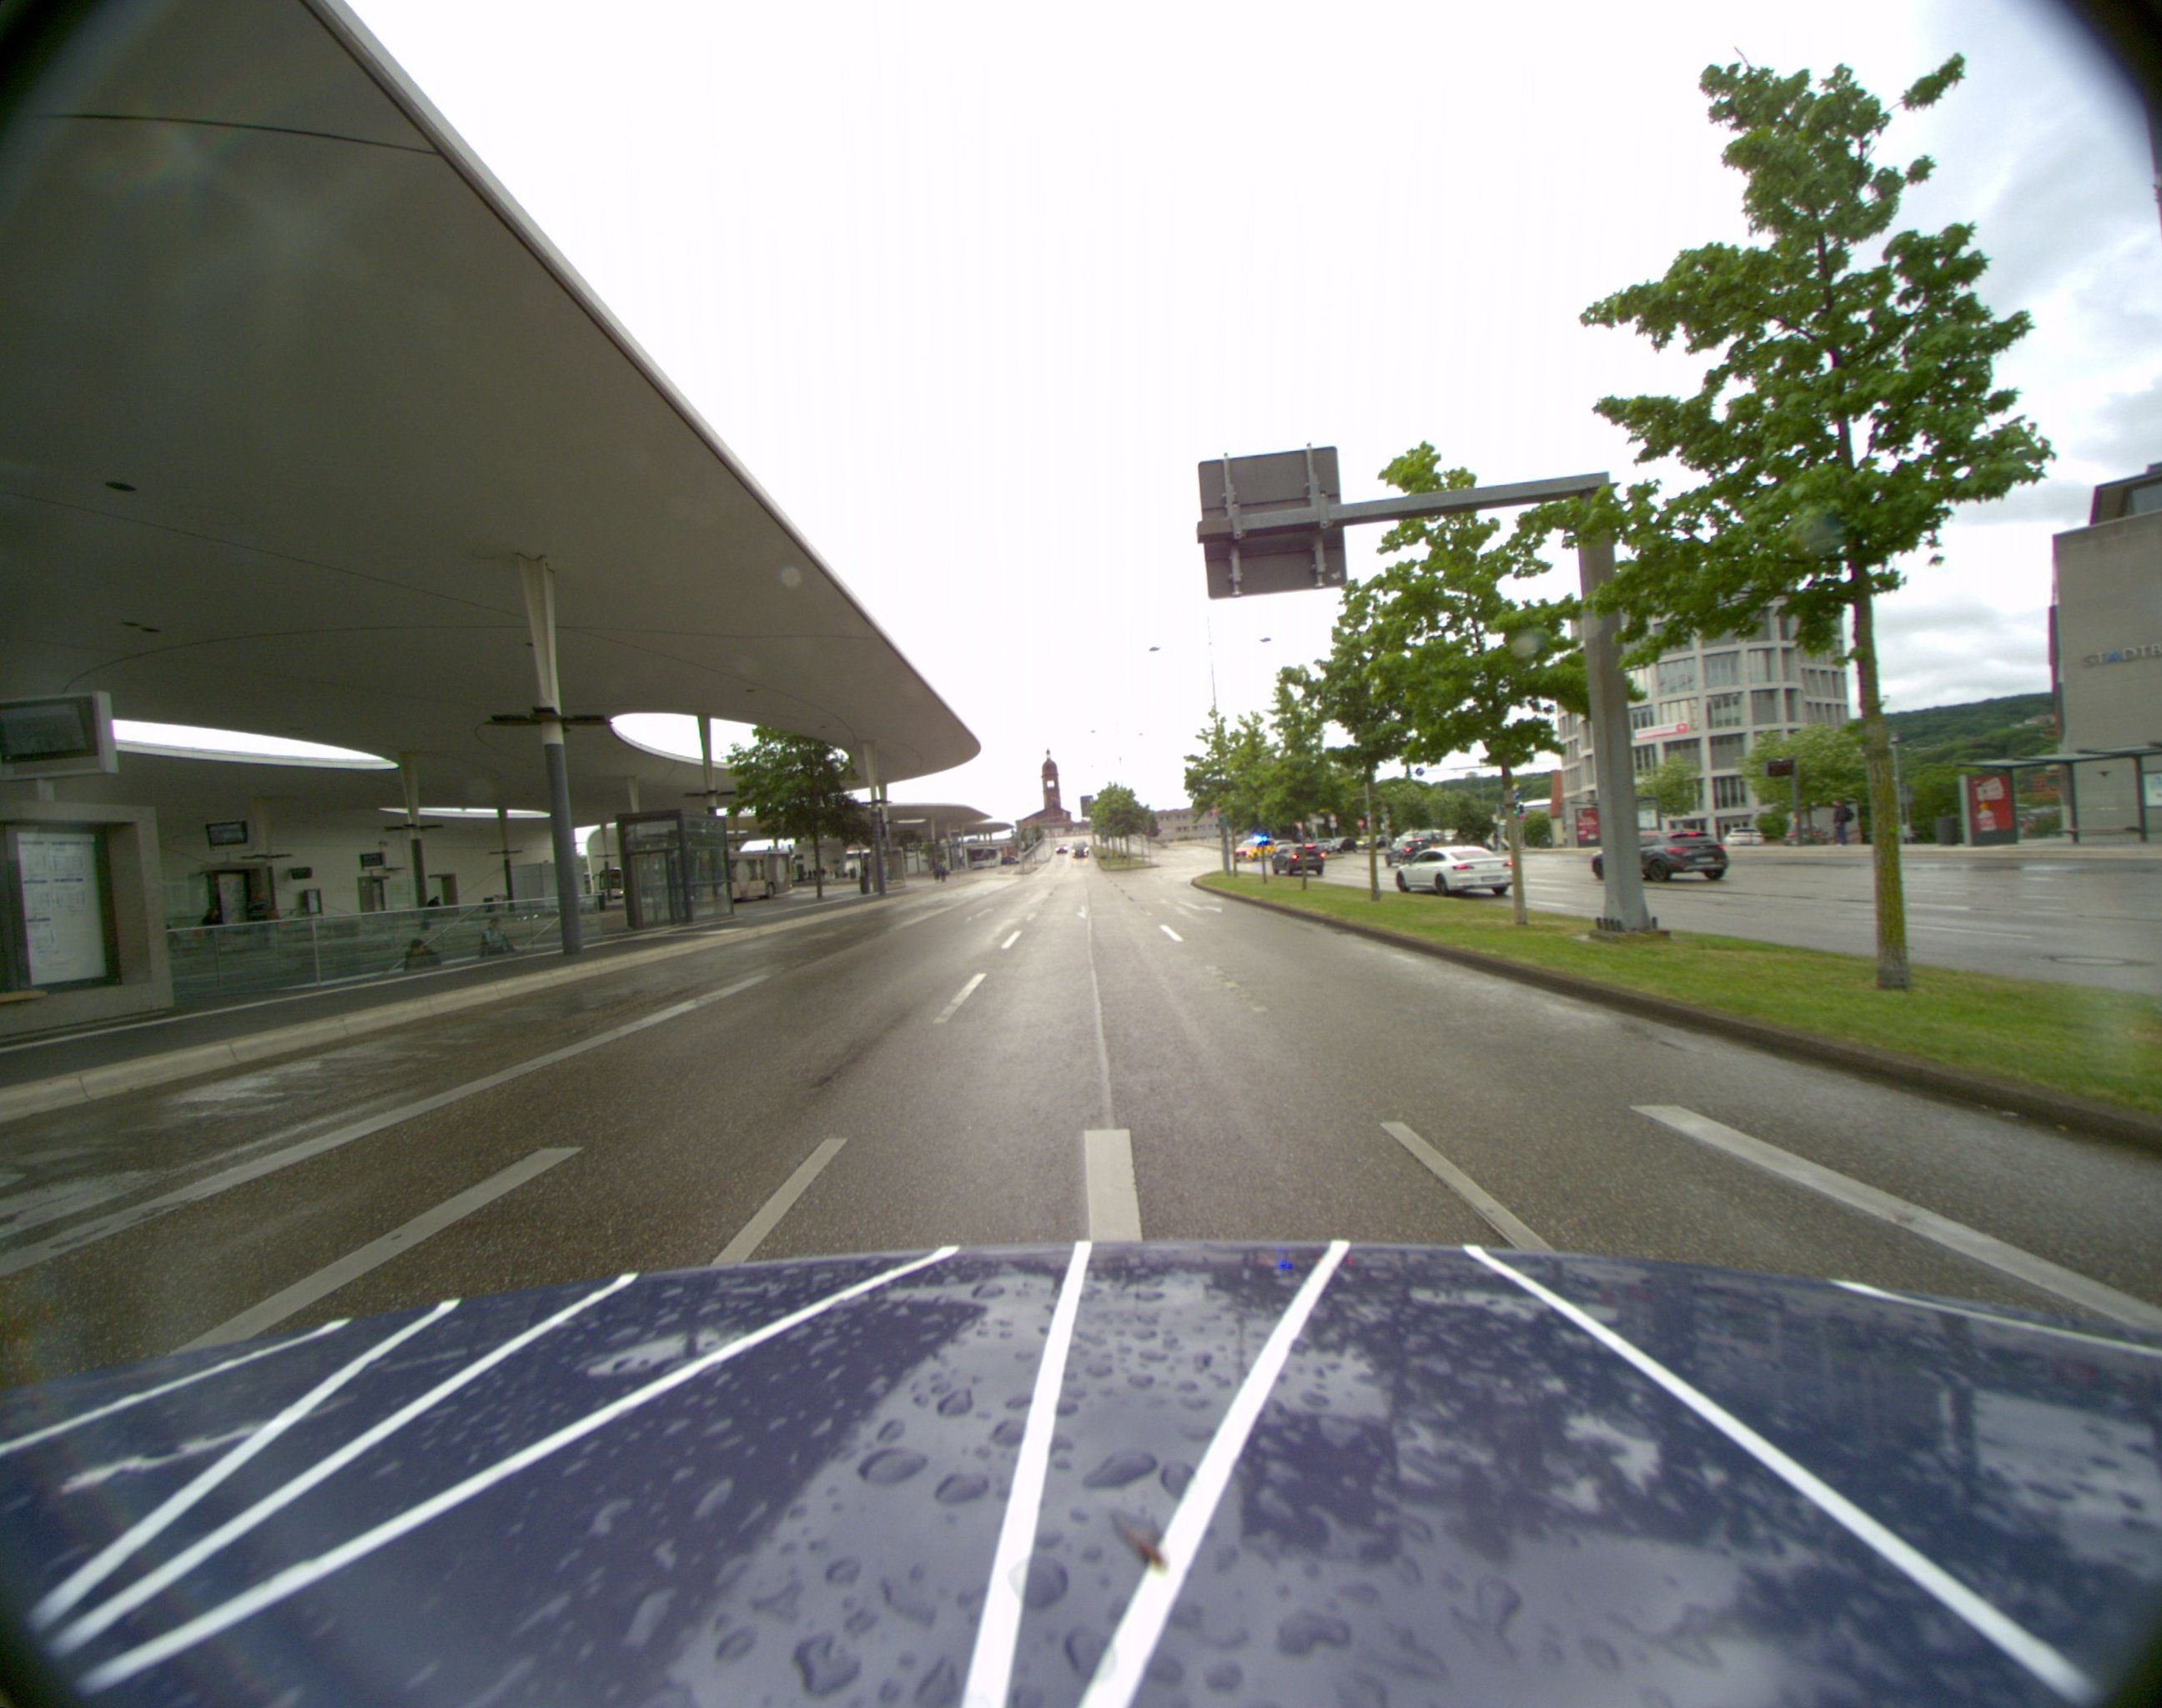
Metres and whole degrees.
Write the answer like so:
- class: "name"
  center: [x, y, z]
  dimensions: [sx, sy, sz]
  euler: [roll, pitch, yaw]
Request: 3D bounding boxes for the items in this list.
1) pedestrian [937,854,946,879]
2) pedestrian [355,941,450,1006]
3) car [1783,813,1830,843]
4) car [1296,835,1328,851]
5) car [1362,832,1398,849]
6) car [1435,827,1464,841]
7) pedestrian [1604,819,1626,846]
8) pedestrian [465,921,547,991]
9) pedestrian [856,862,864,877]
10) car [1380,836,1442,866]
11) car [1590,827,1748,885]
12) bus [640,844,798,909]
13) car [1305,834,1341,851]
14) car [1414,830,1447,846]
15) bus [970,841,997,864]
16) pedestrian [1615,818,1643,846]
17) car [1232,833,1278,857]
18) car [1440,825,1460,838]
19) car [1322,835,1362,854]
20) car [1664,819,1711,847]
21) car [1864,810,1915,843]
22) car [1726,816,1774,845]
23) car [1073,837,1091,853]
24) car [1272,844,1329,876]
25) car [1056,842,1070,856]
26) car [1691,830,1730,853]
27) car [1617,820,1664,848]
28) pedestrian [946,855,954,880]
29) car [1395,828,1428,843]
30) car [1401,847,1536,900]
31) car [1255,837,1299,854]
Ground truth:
- class: "pedestrian"
  center: [-9.921, 0.918, 54.094]
  dimensions: [0.445, 1.753, 0.537]
  euler: [-3, 1, -6]
- class: "pedestrian"
  center: [-12.790, 2.234, 14.357]
  dimensions: [0.882, 1.048, 0.958]
  euler: [-2, 1, 4]
- class: "car"
  center: [43.708, -1.574, 45.763]
  dimensions: [4.165, 1.692, 1.872]
  euler: [-3, 1, -44]
- class: "car"
  center: [26.095, -1.220, 85.730]
  dimensions: [1.872, 1.624, 4.165]
  euler: [-3, 0, 39]
- class: "car"
  center: [31.122, -1.415, 79.100]
  dimensions: [4.165, 1.692, 1.872]
  euler: [-3, 1, -43]
- class: "car"
  center: [46.587, -2.489, 95.937]
  dimensions: [4.165, 1.624, 1.872]
  euler: [-3, 1, -43]
- class: "pedestrian"
  center: [29.587, -1.186, 42.081]
  dimensions: [0.732, 1.481, 0.734]
  euler: [-2, 1, 9]
- class: "pedestrian"
  center: [-11.732, 2.075, 15.536]
  dimensions: [0.882, 1.268, 0.958]
  euler: [-2, 1, 4]
- class: "pedestrian"
  center: [-31.287, 2.199, 107.466]
  dimensions: [1.025, 2.002, 0.879]
  euler: [-2, 1, -14]
- class: "car"
  center: [18.374, -0.194, 42.509]
  dimensions: [1.884, 1.545, 4.002]
  euler: [-2, 1, 3]
- class: "car"
  center: [17.913, 0.029, 23.416]
  dimensions: [1.884, 1.545, 4.002]
  euler: [-2, 1, 3]
- class: "bus"
  center: [-19.758, 1.018, 42.768]
  dimensions: [2.876, 3.064, 11.920]
  euler: [-2, 1, 1]
- class: "car"
  center: [26.068, -1.249, 81.678]
  dimensions: [4.165, 1.692, 1.872]
  euler: [-3, 1, -43]
- class: "car"
  center: [38.485, -1.783, 83.635]
  dimensions: [4.165, 1.624, 1.872]
  euler: [-3, 1, -43]
- class: "bus"
  center: [-14.678, -0.211, 113.872]
  dimensions: [3.584, 3.080, 10.746]
  euler: [-3, 0, -8]
- class: "pedestrian"
  center: [29.592, -1.175, 41.043]
  dimensions: [0.983, 1.481, 0.735]
  euler: [-2, 1, 11]
- class: "car"
  center: [15.388, -0.829, 67.095]
  dimensions: [1.994, 2.002, 5.071]
  euler: [-1, 1, 38]
- class: "car"
  center: [51.373, -3.129, 105.806]
  dimensions: [1.872, 1.624, 4.165]
  euler: [-2, 1, 35]
- class: "car"
  center: [24.819, -0.923, 72.121]
  dimensions: [4.165, 1.692, 1.872]
  euler: [-3, 1, -44]
- class: "car"
  center: [39.567, -1.408, 49.519]
  dimensions: [4.165, 1.692, 1.872]
  euler: [-3, 1, -44]
- class: "car"
  center: [45.836, -1.578, 43.128]
  dimensions: [4.165, 1.692, 1.872]
  euler: [-3, 1, -44]
- class: "car"
  center: [41.717, -1.481, 47.354]
  dimensions: [4.165, 1.692, 1.872]
  euler: [-3, 1, -44]
- class: "car"
  center: [0.046, -1.174, 101.368]
  dimensions: [1.999, 2.002, 3.998]
  euler: [-2, 1, -5]
- class: "car"
  center: [11.684, 0.274, 40.686]
  dimensions: [2.009, 1.545, 4.165]
  euler: [-2, 1, 3]
- class: "car"
  center: [-2.720, -0.817, 116.680]
  dimensions: [1.999, 2.002, 3.999]
  euler: [-2, 1, -2]
- class: "car"
  center: [49.517, -0.992, 59.757]
  dimensions: [4.165, 1.692, 1.872]
  euler: [-3, 1, -44]
- class: "car"
  center: [37.879, -1.364, 51.374]
  dimensions: [4.165, 1.692, 1.872]
  euler: [-3, 1, -44]
- class: "pedestrian"
  center: [-9.366, 0.935, 54.193]
  dimensions: [0.446, 1.753, 0.537]
  euler: [-3, 1, -6]
- class: "car"
  center: [38.588, -2.175, 88.604]
  dimensions: [4.309, 1.624, 1.872]
  euler: [-3, 1, -43]
- class: "car"
  center: [11.292, 0.499, 22.502]
  dimensions: [2.009, 1.345, 4.165]
  euler: [-2, 1, 3]
- class: "car"
  center: [20.421, -0.895, 79.138]
  dimensions: [4.054, 1.550, 1.809]
  euler: [-3, 1, -23]
